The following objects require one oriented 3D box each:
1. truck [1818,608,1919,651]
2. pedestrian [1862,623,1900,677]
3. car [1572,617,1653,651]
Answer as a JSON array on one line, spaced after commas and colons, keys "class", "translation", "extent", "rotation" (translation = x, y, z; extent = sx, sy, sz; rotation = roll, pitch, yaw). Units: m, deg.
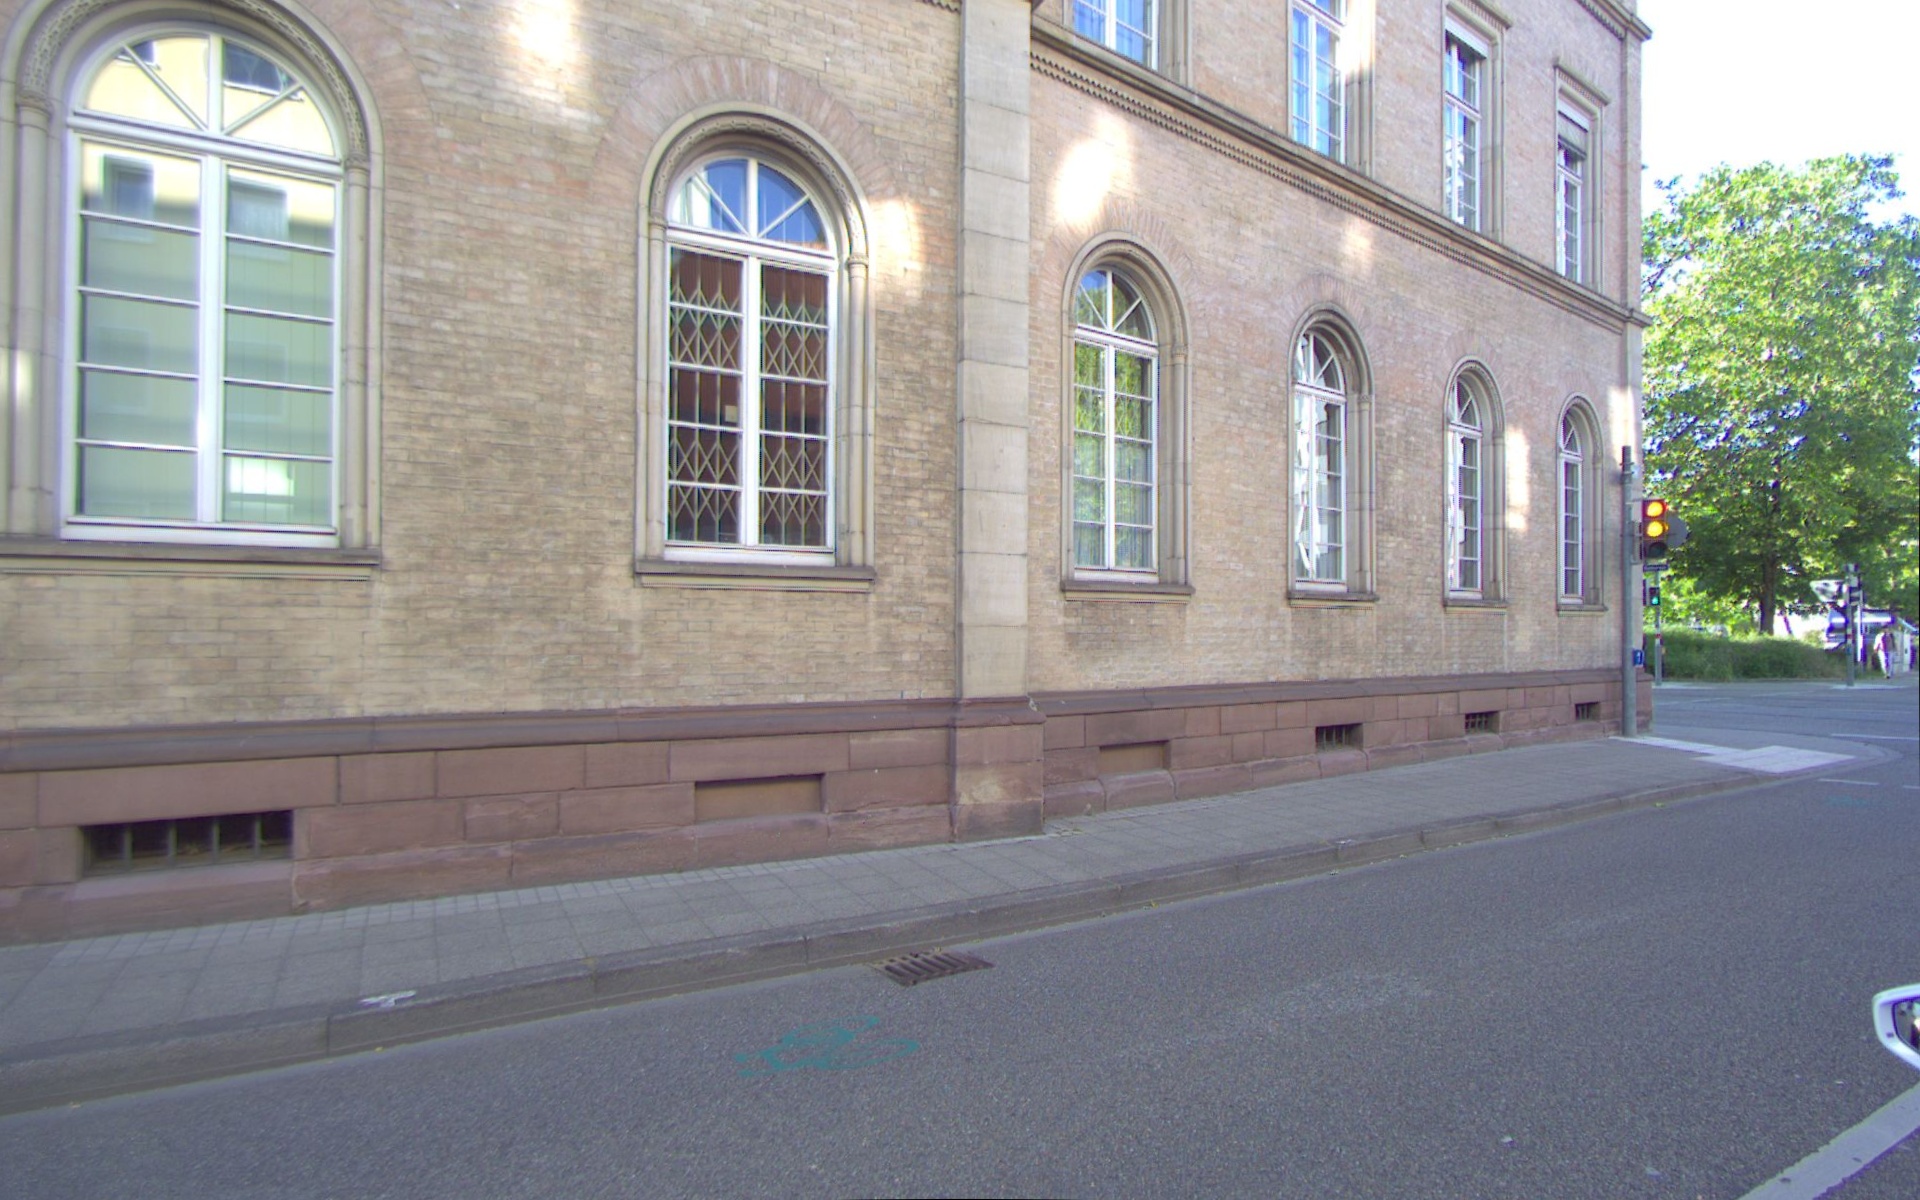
[{"class": "truck", "translation": [53.737, 1.692, 59.042], "extent": [2.069, 2.431, 4.790], "rotation": [1, -1, -39]}, {"class": "pedestrian", "translation": [30.342, 1.640, 33.093], "extent": [0.946, 1.745, 0.698], "rotation": [1, -3, -36]}, {"class": "car", "translation": [47.815, 2.496, 73.696], "extent": [2.056, 2.423, 4.521], "rotation": [2, -3, -38]}]
